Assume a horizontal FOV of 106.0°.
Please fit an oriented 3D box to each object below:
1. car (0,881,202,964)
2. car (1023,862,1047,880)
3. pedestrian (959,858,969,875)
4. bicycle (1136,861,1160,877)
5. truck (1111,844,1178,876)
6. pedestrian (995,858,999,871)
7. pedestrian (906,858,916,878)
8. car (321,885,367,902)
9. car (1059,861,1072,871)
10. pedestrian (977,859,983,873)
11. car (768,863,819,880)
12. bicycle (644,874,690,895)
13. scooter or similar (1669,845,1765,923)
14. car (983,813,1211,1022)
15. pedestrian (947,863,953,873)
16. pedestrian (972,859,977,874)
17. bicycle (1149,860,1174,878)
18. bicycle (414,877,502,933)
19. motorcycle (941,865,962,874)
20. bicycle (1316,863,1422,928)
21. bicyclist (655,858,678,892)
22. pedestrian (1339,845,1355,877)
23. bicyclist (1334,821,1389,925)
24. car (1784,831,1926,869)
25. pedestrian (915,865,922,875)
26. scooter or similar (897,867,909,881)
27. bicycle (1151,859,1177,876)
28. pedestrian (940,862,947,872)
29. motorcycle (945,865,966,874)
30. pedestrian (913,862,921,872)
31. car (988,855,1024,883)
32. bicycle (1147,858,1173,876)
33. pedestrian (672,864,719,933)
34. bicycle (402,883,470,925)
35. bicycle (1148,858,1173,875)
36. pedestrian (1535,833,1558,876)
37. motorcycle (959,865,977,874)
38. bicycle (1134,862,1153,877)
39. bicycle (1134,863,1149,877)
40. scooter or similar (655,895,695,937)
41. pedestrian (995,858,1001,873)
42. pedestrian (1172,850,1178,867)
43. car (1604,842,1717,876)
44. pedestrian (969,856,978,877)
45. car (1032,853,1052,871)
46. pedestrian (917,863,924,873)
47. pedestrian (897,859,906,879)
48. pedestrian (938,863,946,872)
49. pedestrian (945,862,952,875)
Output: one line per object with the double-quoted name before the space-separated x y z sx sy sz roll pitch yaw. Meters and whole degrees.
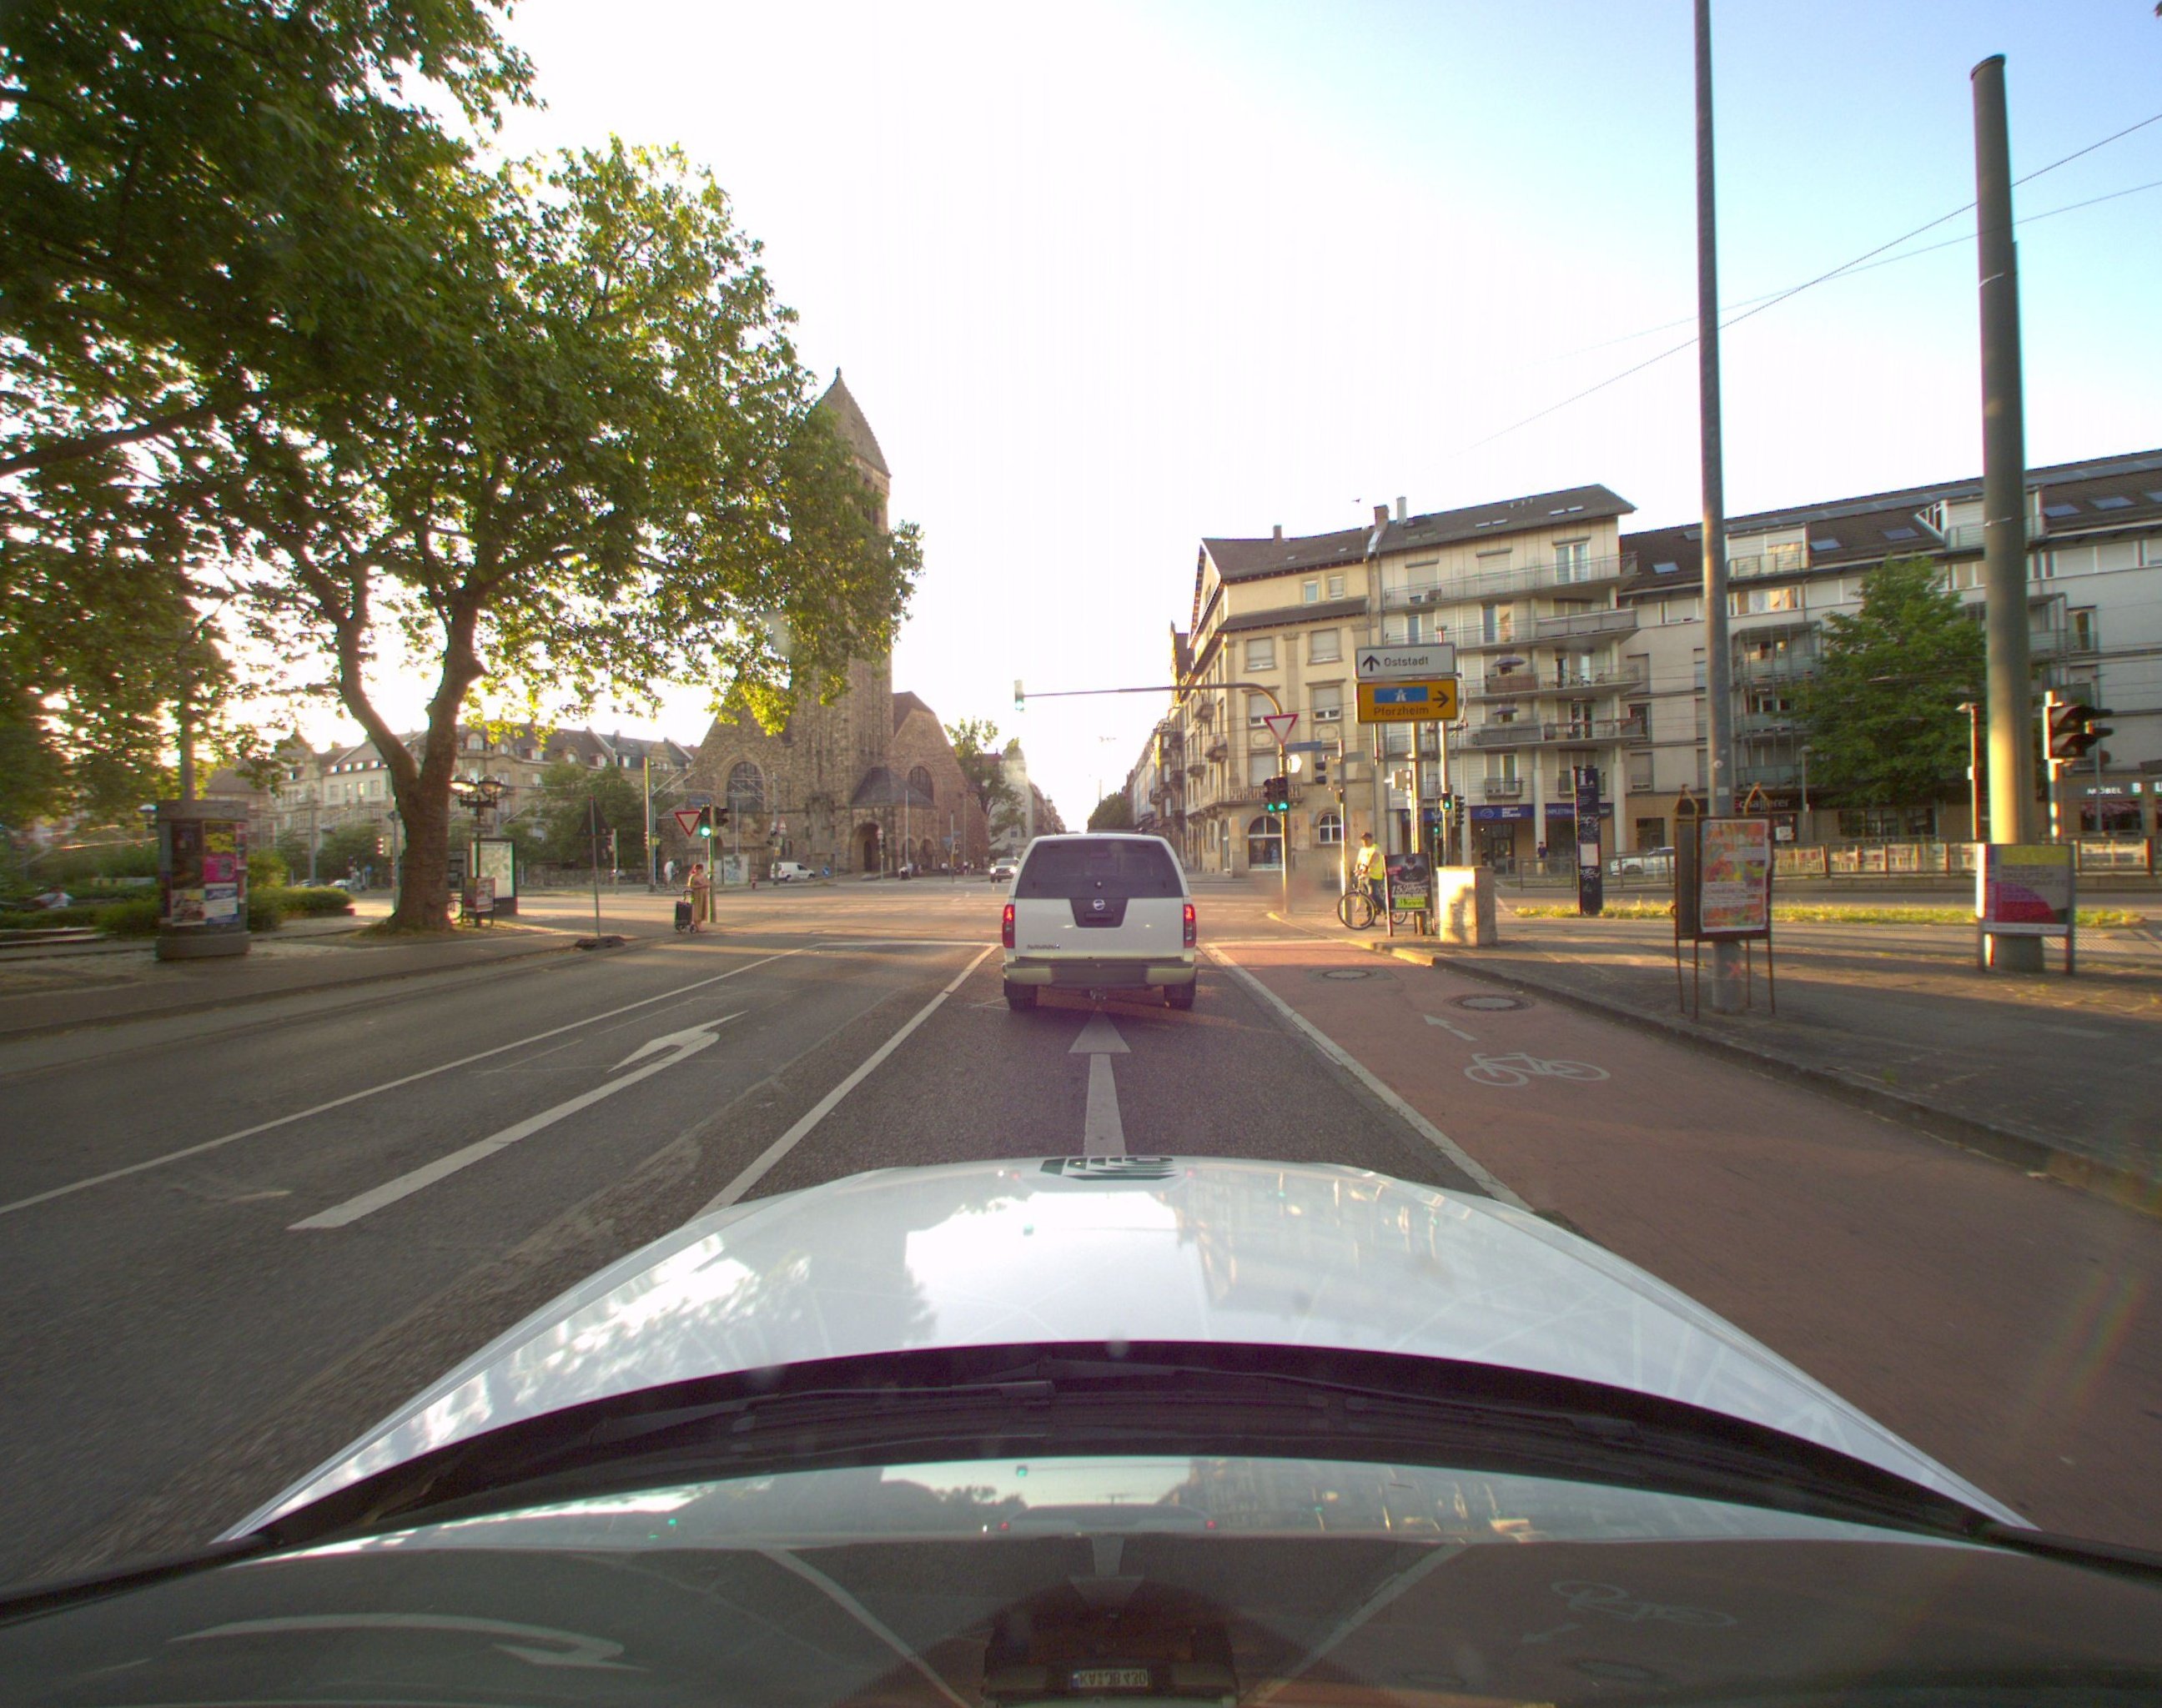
"car" -26.571 1.764 21.125 1.975 1.781 4.669 -3 1 27
"car" -4.302 1.577 76.904 1.988 1.558 4.766 -3 -1 -1
"pedestrian" -11.033 1.174 76.979 0.809 1.669 0.859 0 -1 -1
"bicycle" 5.064 1.157 61.974 1.721 1.083 0.317 -5 -1 -1
"truck" 5.356 0.520 68.076 5.704 2.565 2.260 0 -1 -42
"pedestrian" -10.985 1.399 106.376 0.559 1.695 0.643 0 -1 -6
"pedestrian" -14.582 1.196 69.826 0.629 1.698 0.605 -1 -1 12
"car" -77.600 4.149 85.732 3.953 1.618 2.010 -4 -2 21
"car" -2.377 1.882 128.432 1.852 1.529 4.001 -1 -1 2
"pedestrian" -12.402 1.471 99.562 0.640 1.695 0.562 0 -1 1
"car" -26.312 1.618 74.615 1.698 1.517 4.481 -1 -1 26
"bicycle" -22.735 1.666 44.790 0.650 1.078 2.259 1 0 30
"scooter or similar" 10.693 0.496 13.709 1.219 1.249 0.518 -1 -1 41
"car" 0.201 0.583 9.110 1.986 1.809 4.001 0 -1 2
"pedestrian" -12.851 1.367 80.032 0.522 0.960 0.477 0 -1 -14
"pedestrian" -12.695 1.480 97.265 0.642 1.695 0.560 0 -1 -7
"bicycle" 6.154 1.154 62.424 1.812 1.238 0.488 -5 -1 -1
"bicycle" -15.830 1.260 20.757 0.522 1.326 1.998 -1 -1 7
"motorcycle" -14.552 1.753 91.474 2.239 0.988 0.707 0 -1 -4
"bicycle" 5.266 0.720 14.840 2.079 1.109 0.622 0 -1 -31
"bicyclist" -22.772 1.148 44.750 0.650 1.827 0.865 0 2 27
"pedestrian" 15.125 0.386 46.283 0.779 1.779 0.546 -1 -1 27
"bicyclist" 5.073 0.334 14.731 0.701 1.824 0.622 0 -1 -31
"car" 32.683 -0.131 34.531 3.952 1.486 1.859 -1 -1 21
"pedestrian" -15.103 1.489 75.650 0.473 0.960 0.526 -1 -1 31
"scooter or similar" -15.057 1.674 68.902 0.629 1.103 1.082 -3 -2 13
"bicycle" 6.235 1.012 61.483 1.812 1.150 0.636 -5 -1 -1
"pedestrian" -13.568 1.268 80.158 0.517 0.960 0.481 -1 -1 19
"motorcycle" -14.390 1.782 93.498 2.239 0.988 0.707 0 -1 -4
"pedestrian" -15.019 1.195 74.481 0.517 0.960 0.482 -1 -1 21
"car" -5.277 1.020 58.083 1.987 1.784 4.798 -3 0 1
"bicycle" 6.126 0.999 63.139 1.812 1.238 0.477 -5 -1 -1
"pedestrian" -9.339 1.058 19.753 0.800 1.628 0.773 0 -1 -3
"bicycle" -18.056 1.368 22.838 0.456 1.093 1.798 0 -1 0
"bicycle" 6.249 0.975 63.863 1.812 1.238 0.412 -5 -1 -1
"pedestrian" 23.949 0.037 41.905 0.860 2.209 0.825 -1 -1 21
"motorcycle" -13.295 1.807 95.762 2.146 0.988 0.597 -1 -1 21
"bicycle" 4.886 1.212 63.574 1.367 1.024 0.317 -5 -1 -1
"bicycle" 4.671 1.218 62.867 1.073 1.024 0.317 -5 -1 -1
"scooter or similar" -9.404 1.422 18.891 0.591 0.898 0.849 0 -1 -9
"pedestrian" -10.762 1.468 105.530 0.643 1.855 0.559 0 -1 -13
"pedestrian" 9.103 0.446 78.782 0.525 1.654 0.547 -1 -1 1
"car" 26.452 0.249 37.353 3.950 1.486 1.860 -1 -1 26
"pedestrian" -10.165 1.180 76.946 0.809 1.901 0.666 0 -1 -1
"car" -4.535 0.886 95.507 1.987 2.013 4.950 -2 0 0
"pedestrian" -16.953 1.486 85.915 0.553 0.960 0.704 0 -1 -21
"pedestrian" -15.422 1.256 69.992 0.629 1.698 0.604 -1 -1 11
"pedestrian" -15.041 1.505 88.283 0.547 0.960 0.713 -1 -1 22
"pedestrian" -13.314 1.473 81.796 0.474 1.245 0.526 -1 -1 19
